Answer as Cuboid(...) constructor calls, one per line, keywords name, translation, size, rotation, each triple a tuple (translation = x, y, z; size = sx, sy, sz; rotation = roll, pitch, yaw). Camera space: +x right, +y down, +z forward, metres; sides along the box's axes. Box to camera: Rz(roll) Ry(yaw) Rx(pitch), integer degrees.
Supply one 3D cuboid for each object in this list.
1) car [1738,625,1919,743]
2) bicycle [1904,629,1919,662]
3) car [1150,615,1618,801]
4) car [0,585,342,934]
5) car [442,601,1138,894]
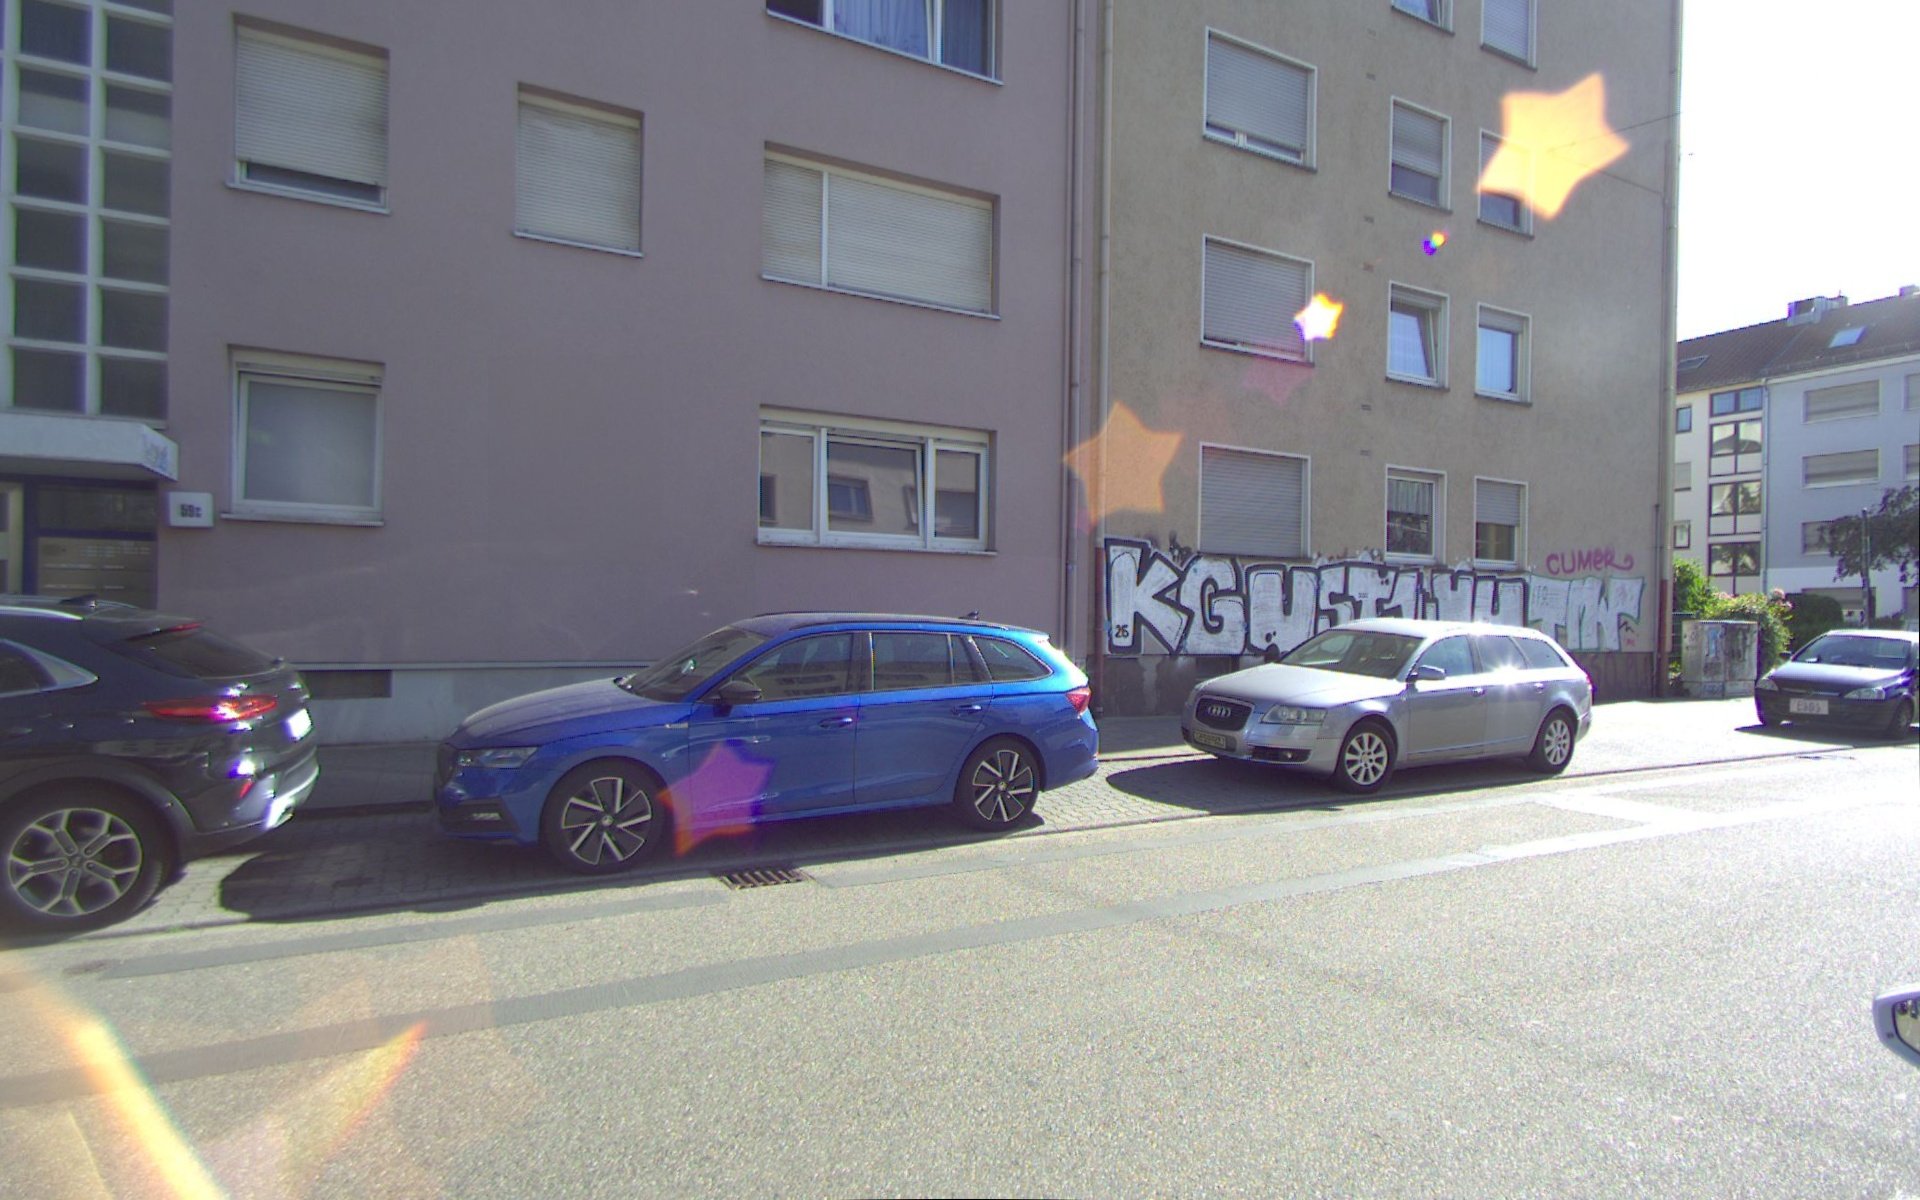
Cuboid(name="car", translation=(13.289, 1.147, 14.693), size=(3.664, 1.444, 1.610), rotation=(1, 2, -28))
Cuboid(name="bicycle", translation=(35.938, 1.684, 36.689), size=(2.069, 1.188, 0.737), rotation=(0, -1, 40))
Cuboid(name="car", translation=(4.320, 0.928, 10.035), size=(4.755, 1.485, 1.710), rotation=(1, 0, -28))
Cuboid(name="car", translation=(-5.590, 0.697, 4.894), size=(4.189, 1.528, 1.811), rotation=(1, 2, -26))
Cuboid(name="car", translation=(-1.102, 0.821, 7.135), size=(4.555, 1.485, 1.710), rotation=(1, 2, -28))
